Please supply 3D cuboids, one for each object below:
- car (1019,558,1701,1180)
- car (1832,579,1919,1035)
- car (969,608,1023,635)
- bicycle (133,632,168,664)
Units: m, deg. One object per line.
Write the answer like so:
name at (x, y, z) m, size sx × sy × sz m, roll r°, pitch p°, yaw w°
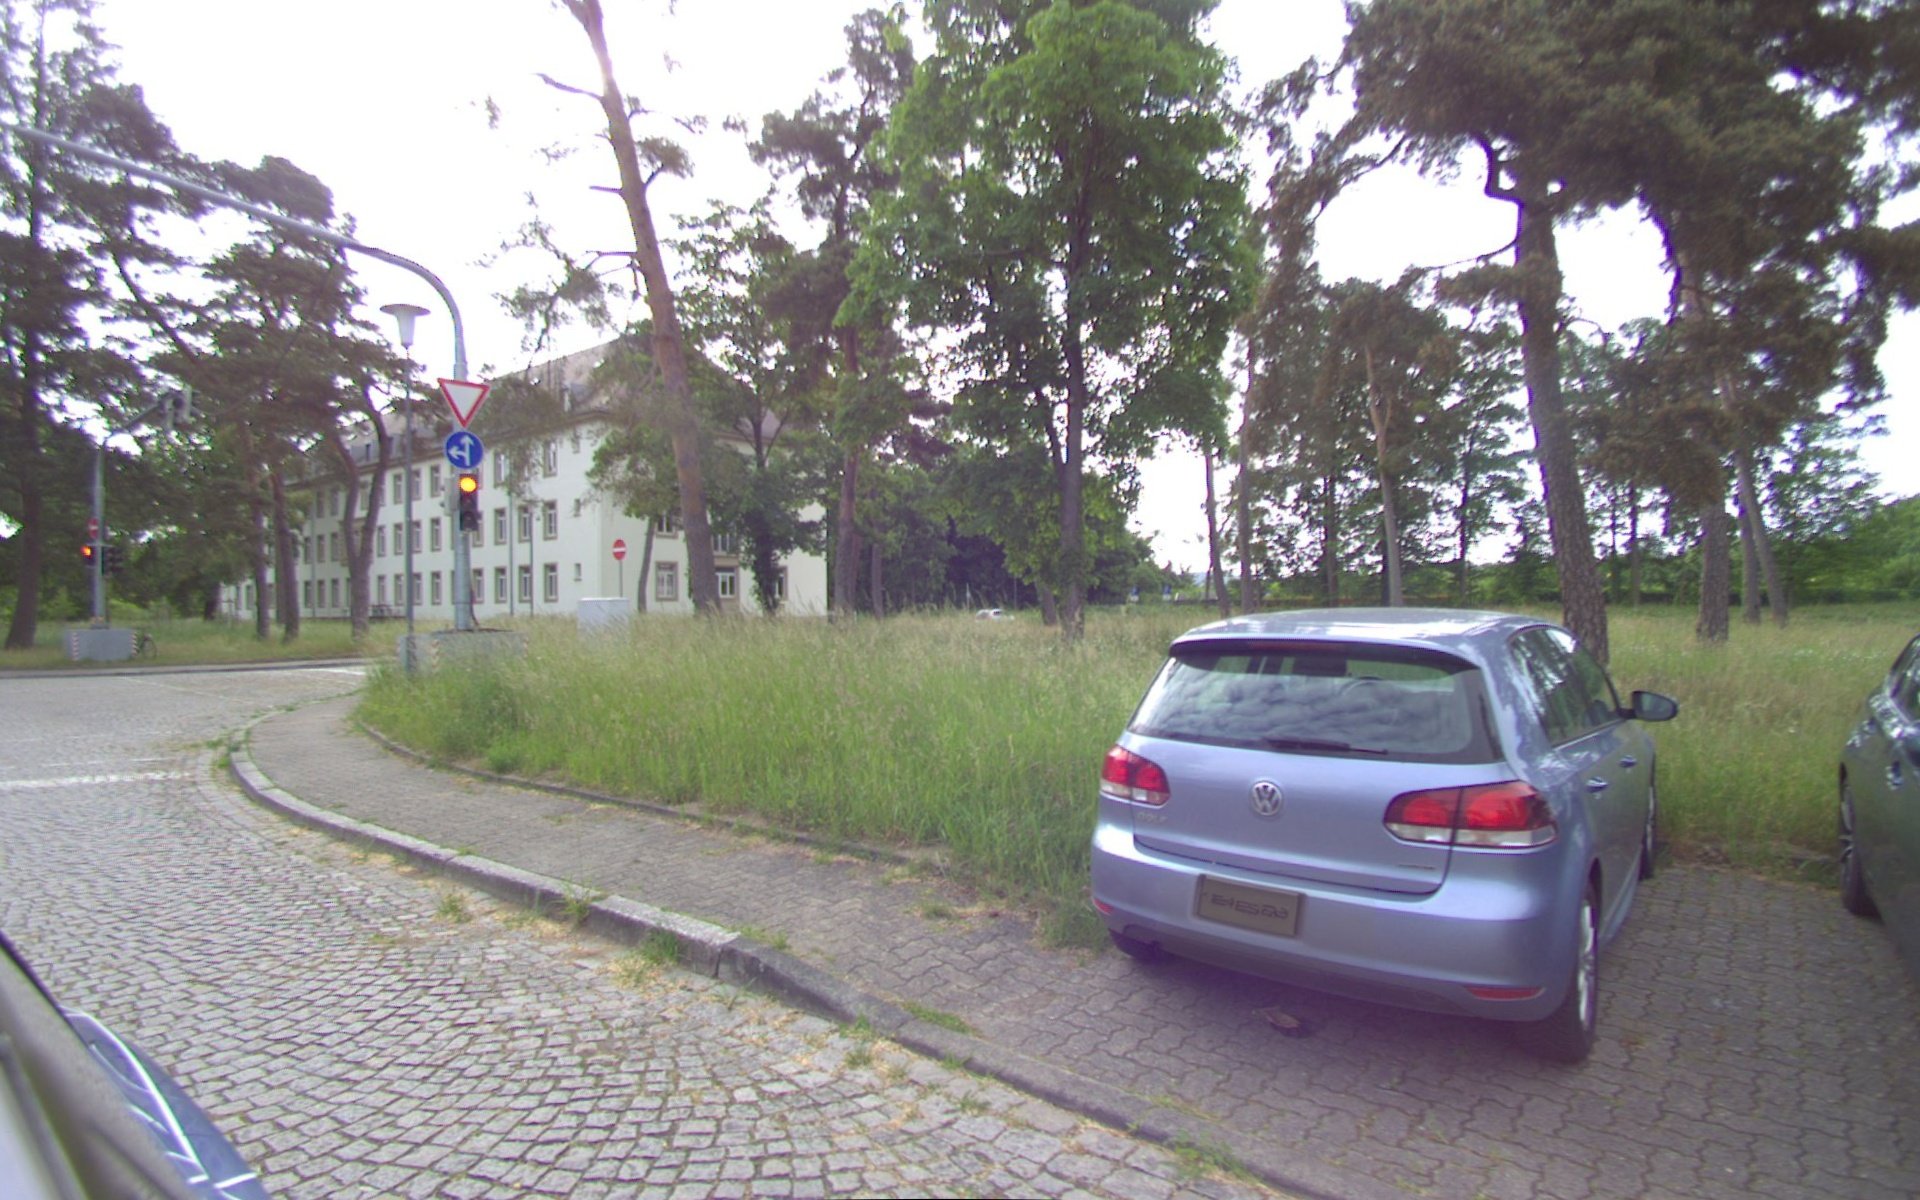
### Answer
car at (2.180, 0.698, 4.700) m, size 1.903 × 1.554 × 3.949 m, roll -1°, pitch -1°, yaw 38°
car at (4.013, 0.693, 2.846) m, size 1.931 × 1.560 × 4.213 m, roll -1°, pitch -1°, yaw 35°
car at (2.600, 1.519, 72.351) m, size 1.722 × 1.820 × 3.944 m, roll -2°, pitch -1°, yaw 42°
bicycle at (-23.975, 1.420, 29.974) m, size 1.045 × 0.923 × 0.292 m, roll -1°, pitch -1°, yaw 18°
